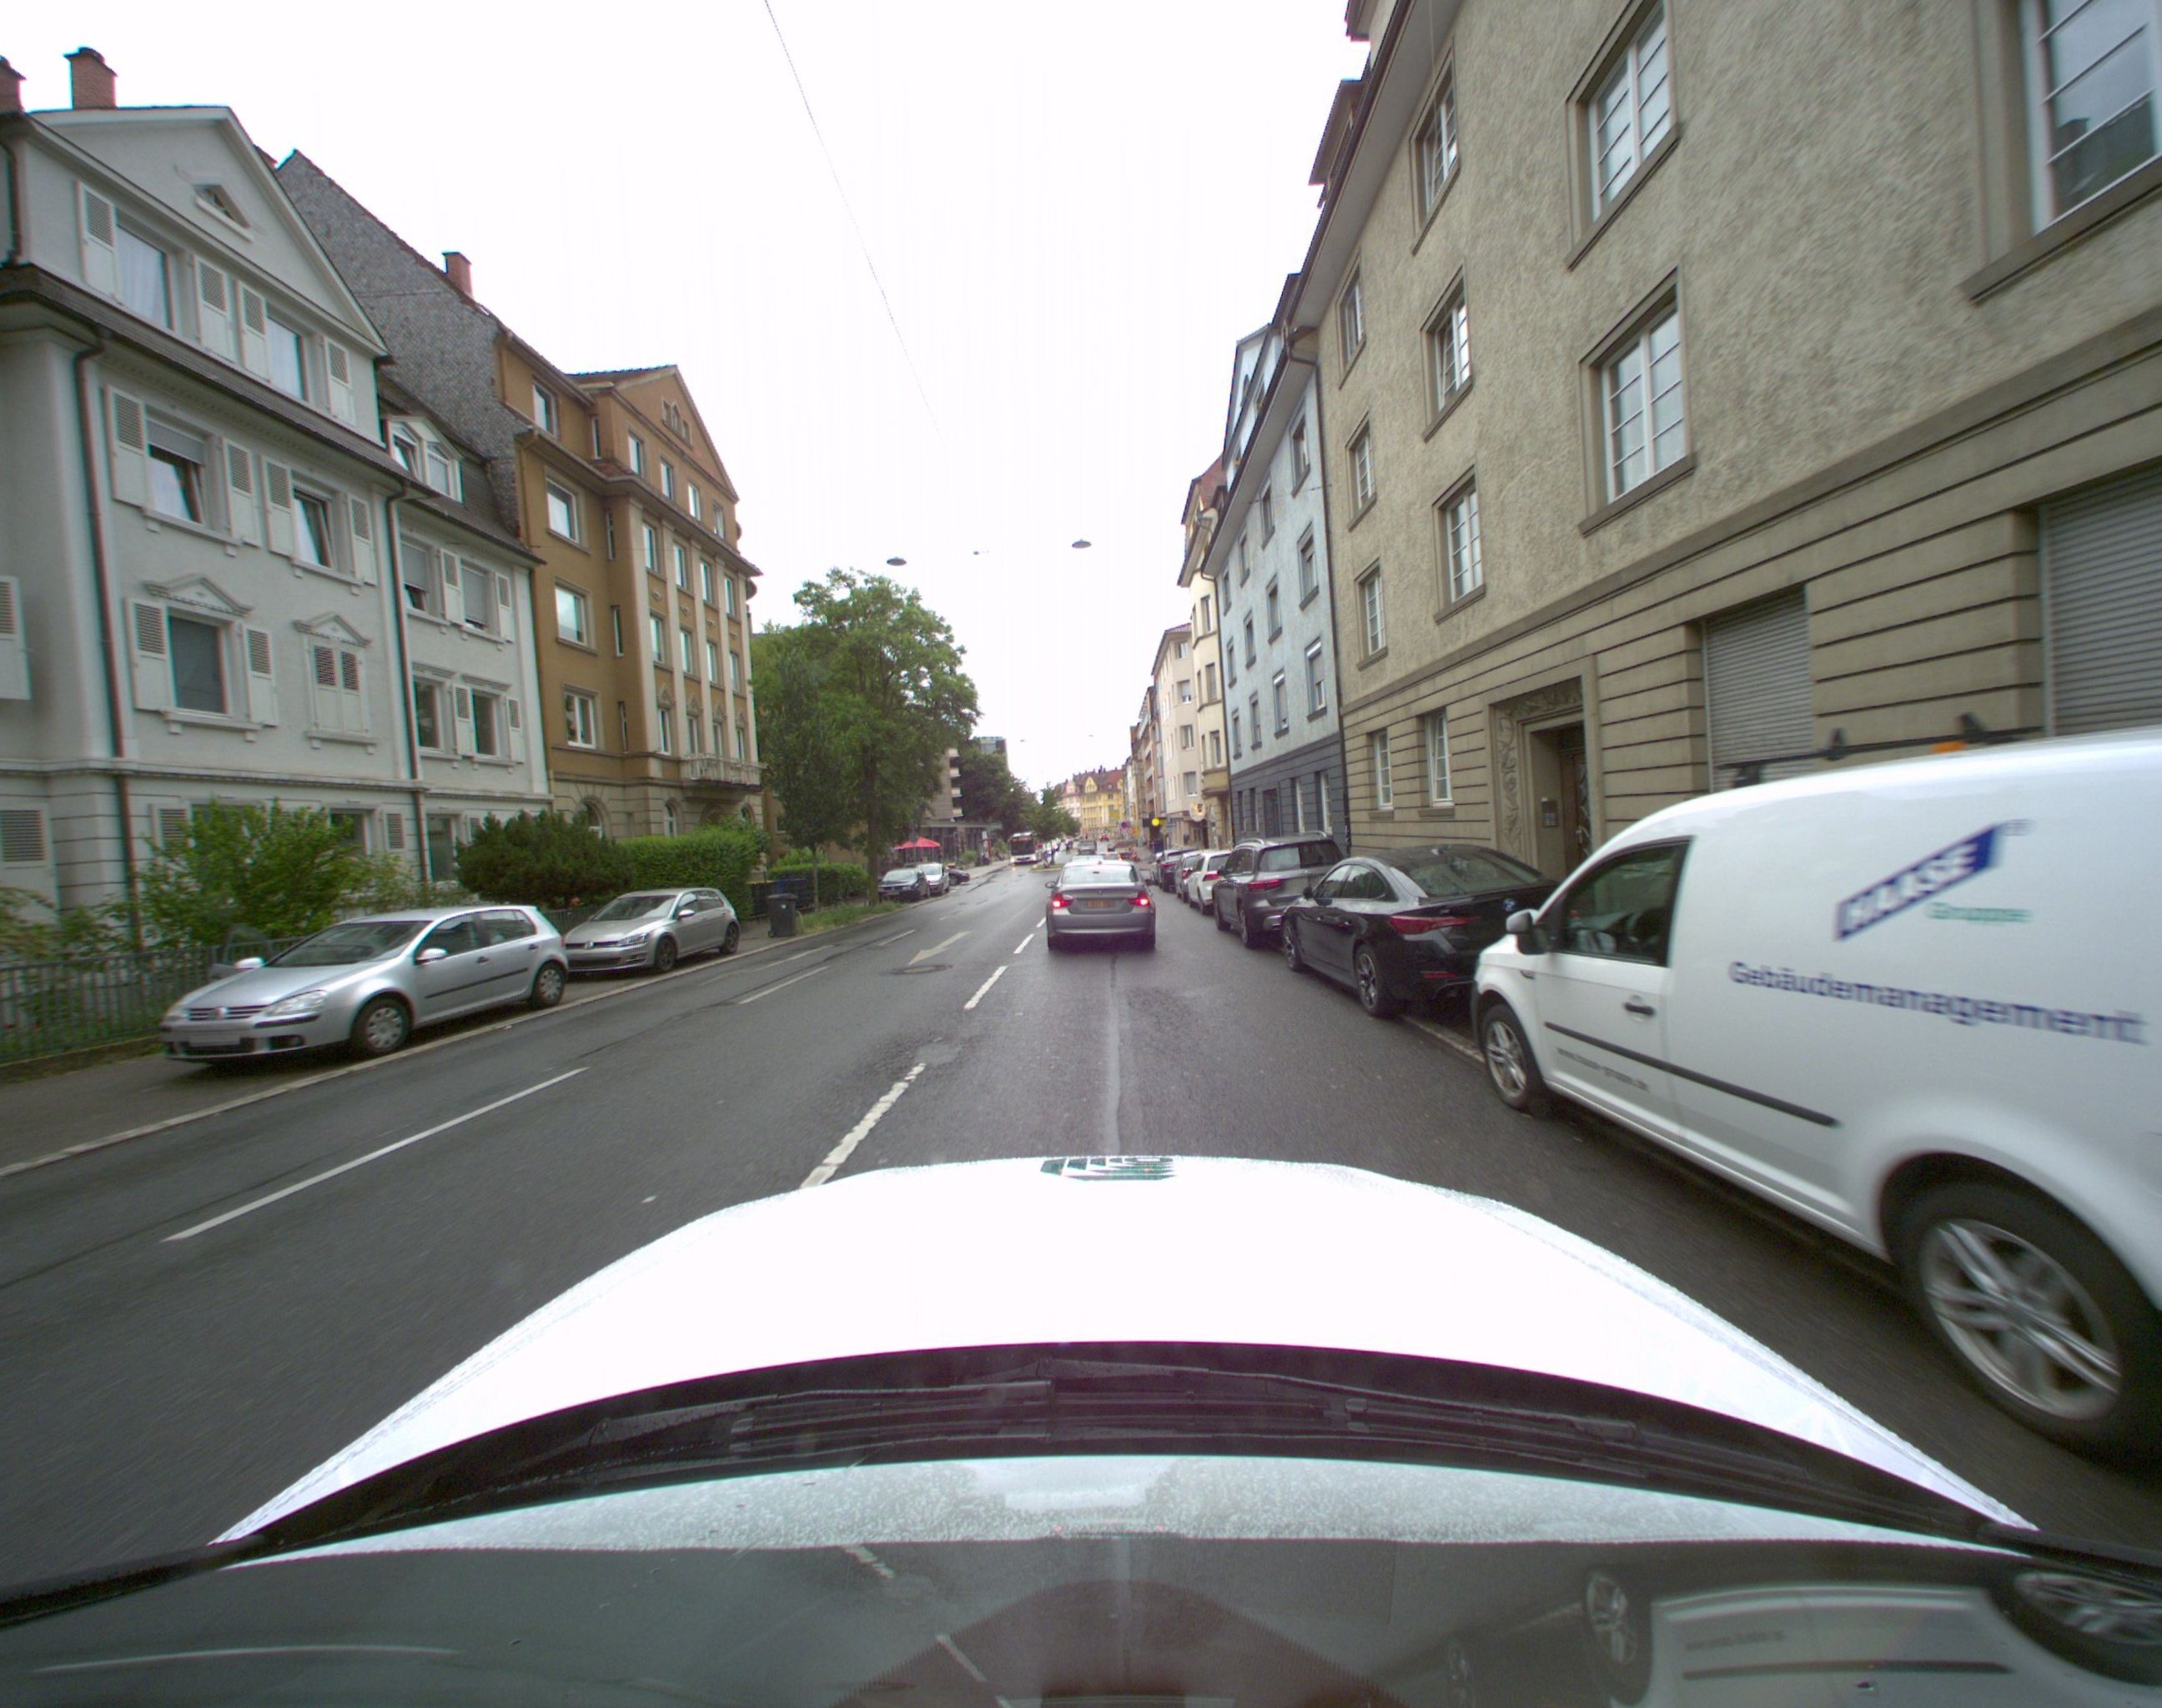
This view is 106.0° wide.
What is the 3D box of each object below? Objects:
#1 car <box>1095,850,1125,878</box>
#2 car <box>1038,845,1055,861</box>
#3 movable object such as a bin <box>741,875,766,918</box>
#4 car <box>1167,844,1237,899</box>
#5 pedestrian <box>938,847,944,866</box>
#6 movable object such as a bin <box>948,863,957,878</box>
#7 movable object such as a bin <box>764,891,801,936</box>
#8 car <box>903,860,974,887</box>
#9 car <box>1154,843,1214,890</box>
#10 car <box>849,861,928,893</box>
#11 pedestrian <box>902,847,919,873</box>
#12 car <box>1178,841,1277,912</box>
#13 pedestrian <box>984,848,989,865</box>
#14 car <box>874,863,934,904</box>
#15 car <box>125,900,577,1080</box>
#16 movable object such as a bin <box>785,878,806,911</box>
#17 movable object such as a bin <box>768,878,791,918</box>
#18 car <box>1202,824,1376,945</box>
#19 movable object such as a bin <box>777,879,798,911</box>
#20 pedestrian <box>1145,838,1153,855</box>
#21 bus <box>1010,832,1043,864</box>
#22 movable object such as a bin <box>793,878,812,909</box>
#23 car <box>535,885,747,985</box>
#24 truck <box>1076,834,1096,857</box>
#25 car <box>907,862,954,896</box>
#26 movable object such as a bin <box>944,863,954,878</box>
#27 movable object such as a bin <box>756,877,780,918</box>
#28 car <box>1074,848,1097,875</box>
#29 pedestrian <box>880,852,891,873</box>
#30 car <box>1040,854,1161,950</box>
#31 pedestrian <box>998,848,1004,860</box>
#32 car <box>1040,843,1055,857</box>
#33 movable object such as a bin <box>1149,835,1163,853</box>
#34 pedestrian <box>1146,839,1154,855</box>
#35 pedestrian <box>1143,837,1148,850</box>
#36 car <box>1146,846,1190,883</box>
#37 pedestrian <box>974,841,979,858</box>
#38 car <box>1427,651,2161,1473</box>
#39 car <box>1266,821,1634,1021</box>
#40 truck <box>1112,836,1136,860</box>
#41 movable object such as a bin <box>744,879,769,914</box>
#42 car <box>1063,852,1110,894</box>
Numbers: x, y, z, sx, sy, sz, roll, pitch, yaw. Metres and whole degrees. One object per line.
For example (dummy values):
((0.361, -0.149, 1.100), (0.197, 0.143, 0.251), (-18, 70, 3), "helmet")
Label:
((1.501, 0.492, 41.533), (1.430, 1.356, 3.764), (-1, -1, 3), "car")
((-4.635, -0.116, 108.853), (1.987, 2.014, 4.000), (-2, -1, 0), "car")
((-10.356, 1.328, 25.758), (0.438, 1.299, 0.650), (-4, 0, 0), "movable object such as a bin")
((3.694, 0.501, 25.440), (1.577, 1.429, 3.596), (-6, 0, 1), "car")
((-13.116, 0.257, 76.176), (0.463, 1.790, 0.545), (-1, -1, 2), "pedestrian")
((-10.052, 1.277, 63.715), (0.488, 1.081, 0.606), (-4, -1, 2), "movable object such as a bin")
((-7.570, 1.497, 20.658), (0.627, 1.058, 0.600), (-4, -1, 1), "movable object such as a bin")
((-8.365, 1.137, 47.903), (3.803, 1.390, 1.742), (-2, -1, 0), "car")
((3.900, 0.443, 31.504), (1.811, 1.557, 4.295), (-5, 0, 2), "car")
((-10.645, 1.263, 45.141), (3.799, 1.389, 1.745), (-4, 1, 3), "car")
((-11.980, 0.427, 57.215), (1.062, 1.731, 0.712), (-3, 1, -9), "pedestrian")
((3.576, 0.502, 20.586), (1.723, 1.429, 3.974), (-6, 0, 1), "car")
((-9.612, 0.256, 82.735), (0.542, 1.709, 0.465), (-1, -1, -5), "pedestrian")
((-7.500, 1.212, 34.809), (1.648, 1.454, 3.941), (-4, 0, 0), "car")
((-8.104, 1.395, 9.641), (1.676, 1.390, 3.911), (-3, 0, 2), "car")
((-10.221, 1.447, 29.187), (0.438, 1.130, 0.657), (-4, 0, 0), "movable object such as a bin")
((-10.265, 1.491, 27.742), (0.438, 1.308, 0.609), (-4, 0, 0), "movable object such as a bin")
((3.363, 0.456, 14.050), (1.835, 1.621, 4.208), (-5, 0, 0), "car")
((-10.276, 1.429, 28.502), (0.425, 1.040, 0.650), (-4, 0, 0), "movable object such as a bin")
((6.663, -0.707, 79.972), (0.748, 1.661, 0.754), (-1, -1, -2), "pedestrian")
((-5.810, -0.512, 88.536), (2.672, 3.200, 11.955), (-1, -1, 0), "bus")
((-10.206, 1.433, 29.845), (0.438, 1.081, 0.590), (-4, 0, 0), "movable object such as a bin")
((-8.005, 1.403, 15.292), (1.676, 1.390, 3.938), (-3, 0, 2), "car")
((0.594, -0.944, 94.616), (2.209, 2.544, 4.779), (-1, -1, 0), "truck")
((-7.197, 1.161, 39.245), (1.628, 1.454, 3.836), (-3, 0, -2), "car")
((-10.130, 1.263, 62.698), (0.552, 1.081, 0.731), (-4, -1, 2), "movable object such as a bin")
((-10.325, 1.426, 26.858), (0.438, 1.308, 0.650), (-4, 0, 0), "movable object such as a bin")
((0.316, 0.580, 63.540), (1.700, 2.014, 3.998), (-1, -1, -1), "car")
((-16.952, 0.723, 70.548), (0.637, 1.816, 0.632), (-4, 1, -26), "pedestrian")
((0.325, 0.738, 13.745), (1.749, 1.362, 3.165), (-2, -1, 1), "car")
((-9.625, 0.013, 98.435), (0.617, 1.378, 0.545), (-1, -1, 2), "pedestrian")
((-5.121, -0.546, 124.144), (1.987, 2.014, 4.000), (-1, -1, 0), "car")
((7.573, -1.028, 81.947), (1.119, 1.702, 1.433), (-5, -1, -1), "movable object such as a bin")
((7.215, -0.730, 84.777), (0.745, 1.661, 0.838), (-1, -1, 7), "pedestrian")
((8.239, -1.319, 103.642), (0.611, 1.661, 0.756), (-1, -1, 7), "pedestrian")
((3.923, 0.427, 37.141), (1.563, 1.464, 4.091), (-5, 0, 2), "car")
((-11.089, -0.445, 86.321), (0.542, 1.790, 0.507), (-1, -1, -8), "pedestrian")
((3.261, 0.387, 3.446), (1.784, 1.817, 4.081), (-5, 0, 1), "car")
((3.441, 0.528, 8.685), (1.835, 1.409, 4.387), (-6, 0, 0), "car")
((3.995, -0.507, 74.945), (2.206, 2.116, 4.657), (0, 0, 4), "truck")
((-10.365, 1.350, 26.016), (0.438, 1.039, 0.650), (-4, 0, 0), "movable object such as a bin")
((0.166, 0.656, 29.439), (1.597, 1.420, 3.286), (-1, -1, -1), "car")
